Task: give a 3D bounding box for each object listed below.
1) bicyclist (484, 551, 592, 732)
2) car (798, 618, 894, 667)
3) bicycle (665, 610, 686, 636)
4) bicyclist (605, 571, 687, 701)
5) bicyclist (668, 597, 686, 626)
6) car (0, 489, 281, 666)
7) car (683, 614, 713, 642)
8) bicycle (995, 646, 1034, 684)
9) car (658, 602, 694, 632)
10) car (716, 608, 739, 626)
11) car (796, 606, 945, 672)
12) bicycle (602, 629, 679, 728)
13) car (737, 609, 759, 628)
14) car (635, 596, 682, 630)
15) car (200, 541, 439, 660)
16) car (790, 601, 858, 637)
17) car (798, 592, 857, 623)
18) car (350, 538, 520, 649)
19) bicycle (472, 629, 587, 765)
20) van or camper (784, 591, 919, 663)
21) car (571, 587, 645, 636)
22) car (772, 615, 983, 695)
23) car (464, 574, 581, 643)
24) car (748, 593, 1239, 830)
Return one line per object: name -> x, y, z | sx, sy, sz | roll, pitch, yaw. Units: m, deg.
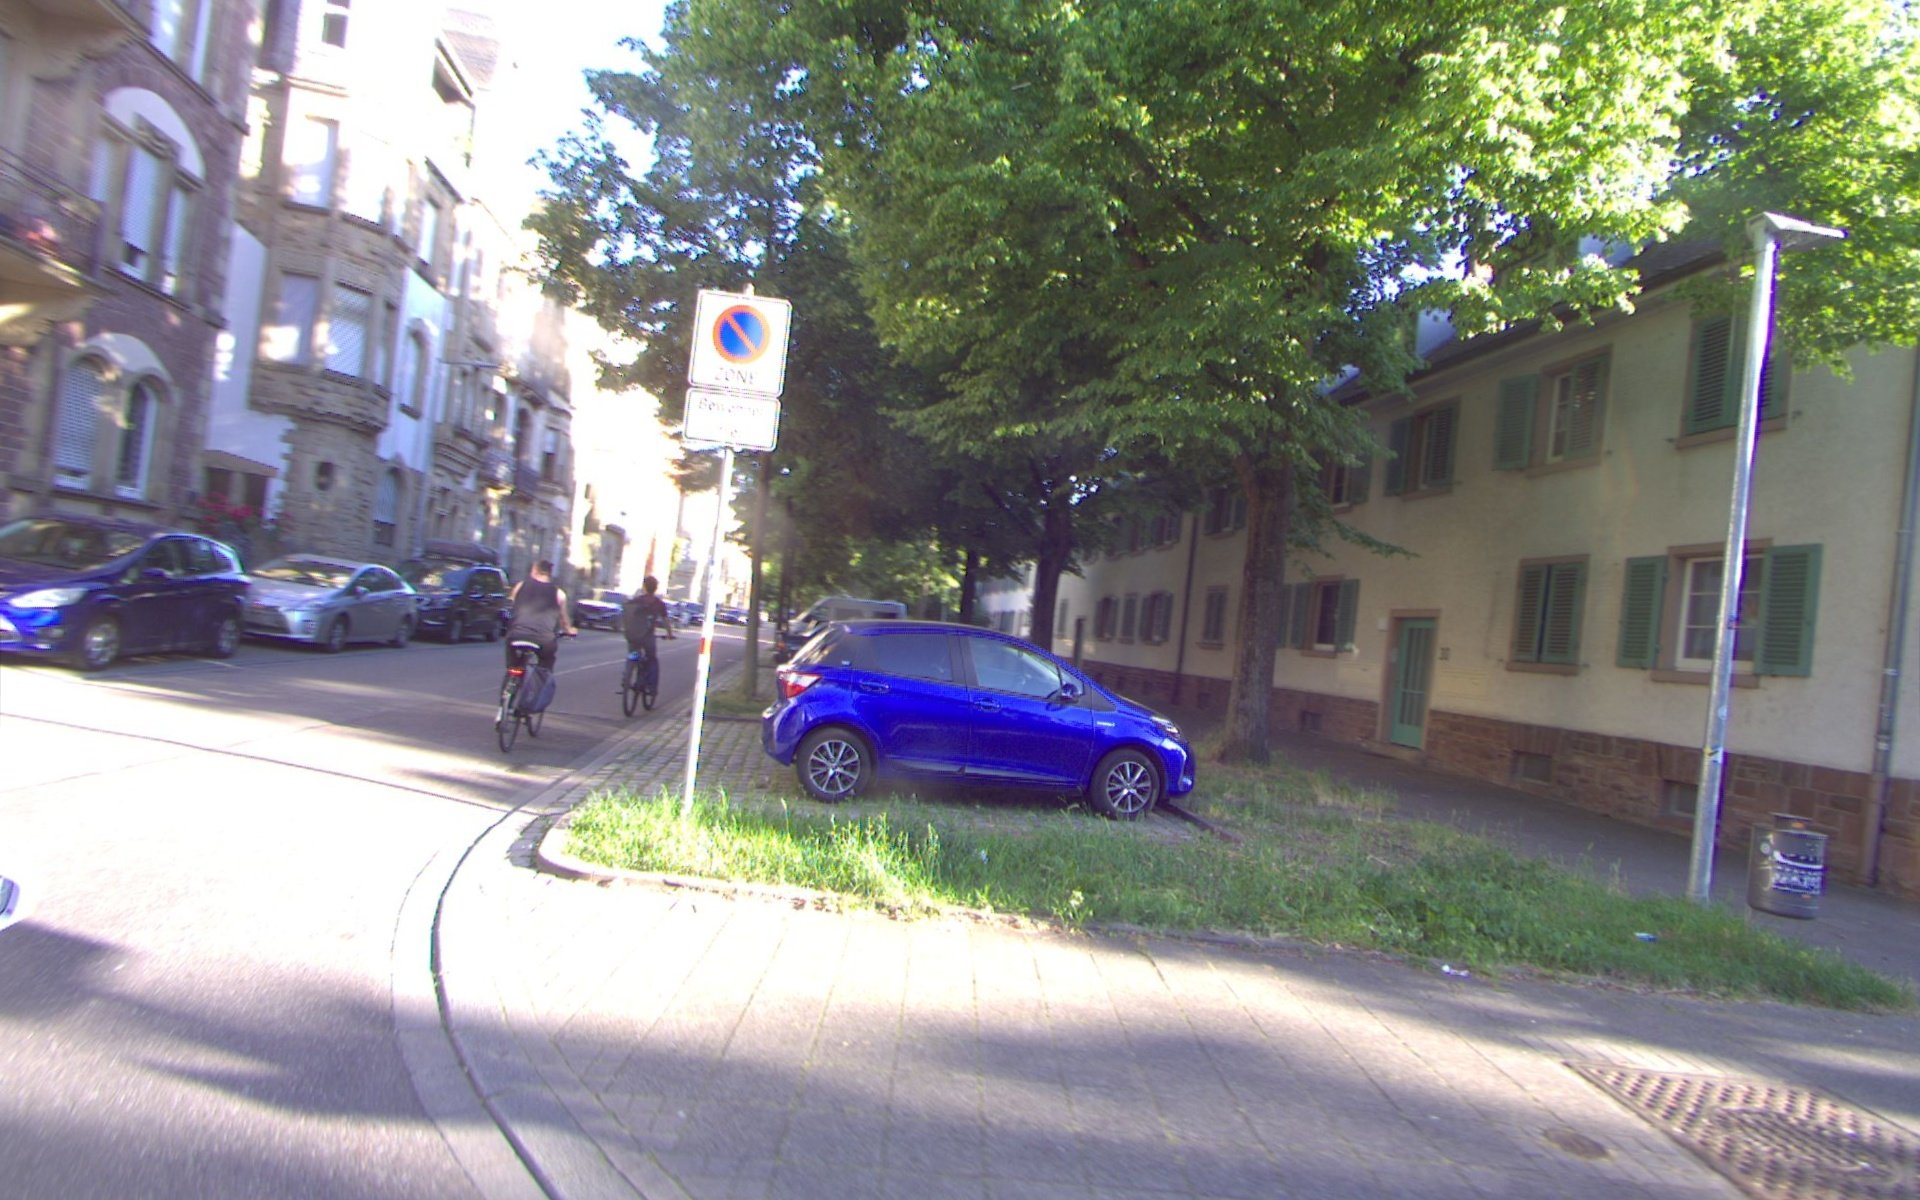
bicyclist -> -3.942, 0.392, 9.471 | 0.698, 1.543, 0.969 | 7, -3, -19
car -> -4.418, 1.650, 38.683 | 3.453, 1.489, 1.750 | 6, -3, -10
bicycle -> -14.138, 1.140, 50.036 | 0.743, 1.192, 2.616 | 6, -1, -12
bicyclist -> -4.059, 0.476, 13.077 | 0.709, 1.543, 0.971 | 7, -3, -9
bicyclist -> -14.159, 0.574, 50.315 | 0.656, 1.361, 1.058 | 6, -1, -12
car -> -10.033, -0.220, 11.766 | 1.707, 1.639, 4.255 | 9, -4, -10
car -> -18.695, 2.029, 71.868 | 1.609, 1.683, 3.966 | 7, -3, -10
bicycle -> 2.355, 2.796, 43.488 | 0.791, 1.415, 1.996 | 7, -2, -21
car -> -17.563, 1.061, 62.327 | 1.472, 1.532, 3.773 | 11, -3, -8
car -> -23.713, 1.775, 102.644 | 1.967, 1.502, 3.998 | 7, -3, -10
car -> -2.873, 1.219, 31.777 | 4.413, 1.690, 1.939 | 5, -1, -11
bicycle -> -4.117, 0.980, 13.080 | 0.548, 1.085, 1.966 | 7, -1, -9
car -> -20.166, 1.794, 95.832 | 1.872, 1.502, 4.377 | 8, -3, -11
car -> -17.021, 0.761, 56.936 | 1.732, 1.532, 4.112 | 11, -4, -8
car -> -10.613, 0.055, 17.112 | 1.707, 1.515, 4.449 | 9, -2, -10
car -> -15.244, 2.167, 112.910 | 7.228, 3.319, 2.222 | 6, -2, -8
car -> -9.983, 0.610, 75.997 | 4.183, 1.860, 1.854 | 6, -3, -8
car -> -11.670, -0.087, 22.759 | 1.943, 1.996, 4.492 | 9, -2, -10
bicycle -> -4.011, 0.861, 9.507 | 0.688, 1.084, 1.963 | 8, -3, -18
van or camper -> -4.758, 1.210, 43.814 | 5.497, 2.566, 2.267 | 5, -2, -11
car -> -14.178, 0.523, 40.730 | 2.022, 1.639, 4.392 | 7, -3, -11
car -> -2.044, 1.329, 24.355 | 4.826, 1.458, 1.941 | 6, -3, -11
car -> -12.471, 0.324, 29.015 | 1.705, 1.591, 4.708 | 7, -3, -7
car -> 0.183, 0.979, 9.087 | 3.933, 1.573, 1.998 | 6, -3, -11
